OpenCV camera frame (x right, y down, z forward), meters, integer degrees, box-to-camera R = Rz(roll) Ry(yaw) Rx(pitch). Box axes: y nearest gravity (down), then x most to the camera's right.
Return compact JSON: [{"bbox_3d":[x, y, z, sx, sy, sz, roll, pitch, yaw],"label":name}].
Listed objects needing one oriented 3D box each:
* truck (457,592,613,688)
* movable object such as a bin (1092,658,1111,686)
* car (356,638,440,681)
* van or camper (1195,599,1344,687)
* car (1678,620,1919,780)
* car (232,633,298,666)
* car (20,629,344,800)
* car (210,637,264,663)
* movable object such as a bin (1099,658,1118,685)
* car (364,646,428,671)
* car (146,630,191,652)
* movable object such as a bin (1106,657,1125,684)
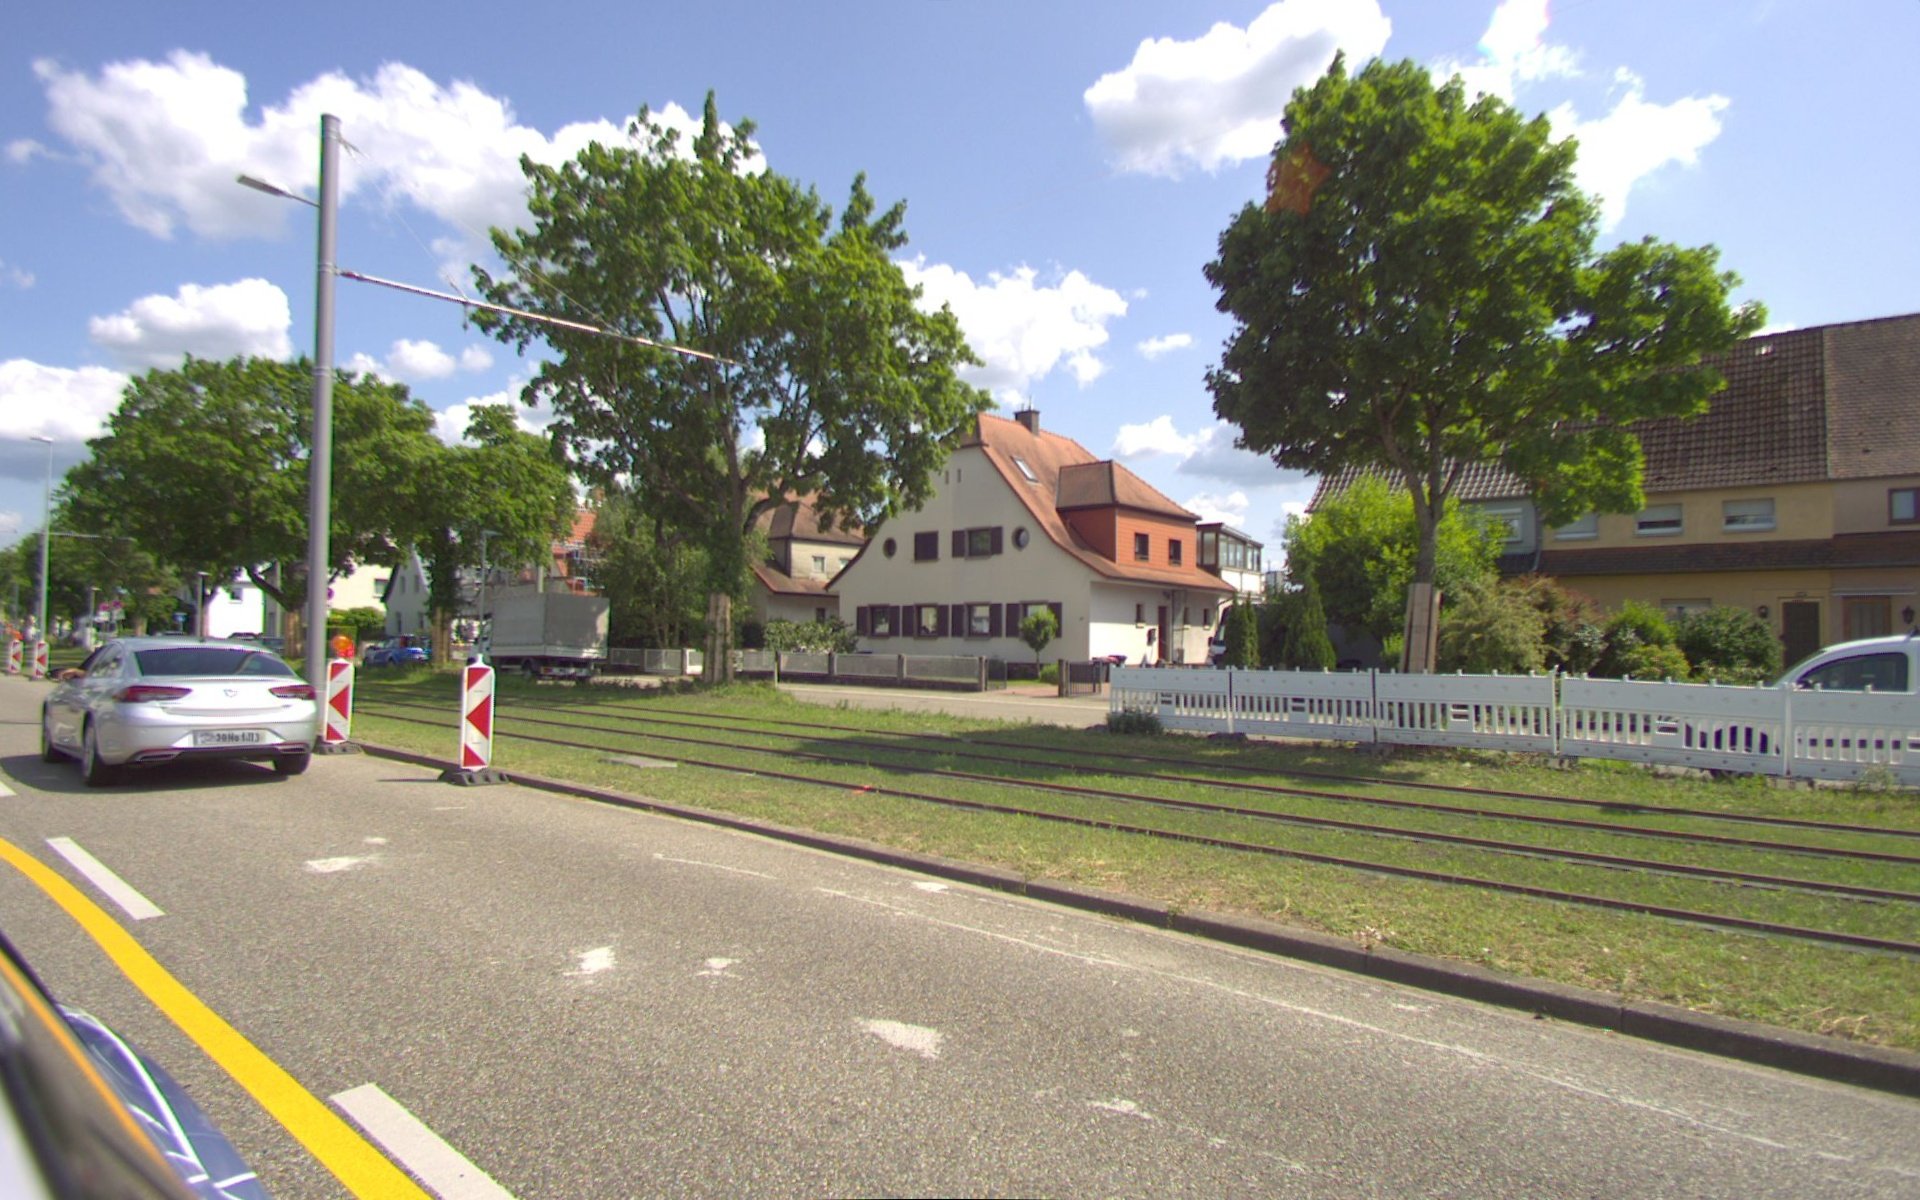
[{"bbox_3d":[-13.885,1.228,32.844,5.949,2.826,2.340,-1,-1,42],"label":"truck"},{"bbox_3d":[4.687,2.377,33.469,0.458,0.874,0.469,-1,-1,40],"label":"movable object such as a bin"},{"bbox_3d":[-21.971,2.287,39.539,3.929,1.524,1.651,-1,-1,41],"label":"car"},{"bbox_3d":[10.473,1.330,33.894,2.498,2.652,6.268,-1,-1,40],"label":"van or camper"},{"bbox_3d":[10.423,1.077,11.111,3.999,1.638,1.635,-1,-4,41],"label":"car"},{"bbox_3d":[-35.246,2.465,51.291,4.522,1.524,1.685,-1,-1,41],"label":"car"},{"bbox_3d":[-8.436,1.094,10.827,4.480,1.456,1.802,-2,-5,41],"label":"car"},{"bbox_3d":[-39.487,2.720,55.256,3.786,1.251,1.603,-1,-1,42],"label":"car"},{"bbox_3d":[4.967,2.379,33.846,0.458,0.874,0.469,-1,-1,40],"label":"movable object such as a bin"},{"bbox_3d":[-34.322,3.554,61.693,3.190,1.393,1.492,0,-1,-19],"label":"car"},{"bbox_3d":[-51.429,2.656,65.769,3.999,1.311,1.615,-1,-1,42],"label":"car"},{"bbox_3d":[5.243,2.381,34.218,0.458,0.874,0.469,-1,-1,40],"label":"movable object such as a bin"}]
